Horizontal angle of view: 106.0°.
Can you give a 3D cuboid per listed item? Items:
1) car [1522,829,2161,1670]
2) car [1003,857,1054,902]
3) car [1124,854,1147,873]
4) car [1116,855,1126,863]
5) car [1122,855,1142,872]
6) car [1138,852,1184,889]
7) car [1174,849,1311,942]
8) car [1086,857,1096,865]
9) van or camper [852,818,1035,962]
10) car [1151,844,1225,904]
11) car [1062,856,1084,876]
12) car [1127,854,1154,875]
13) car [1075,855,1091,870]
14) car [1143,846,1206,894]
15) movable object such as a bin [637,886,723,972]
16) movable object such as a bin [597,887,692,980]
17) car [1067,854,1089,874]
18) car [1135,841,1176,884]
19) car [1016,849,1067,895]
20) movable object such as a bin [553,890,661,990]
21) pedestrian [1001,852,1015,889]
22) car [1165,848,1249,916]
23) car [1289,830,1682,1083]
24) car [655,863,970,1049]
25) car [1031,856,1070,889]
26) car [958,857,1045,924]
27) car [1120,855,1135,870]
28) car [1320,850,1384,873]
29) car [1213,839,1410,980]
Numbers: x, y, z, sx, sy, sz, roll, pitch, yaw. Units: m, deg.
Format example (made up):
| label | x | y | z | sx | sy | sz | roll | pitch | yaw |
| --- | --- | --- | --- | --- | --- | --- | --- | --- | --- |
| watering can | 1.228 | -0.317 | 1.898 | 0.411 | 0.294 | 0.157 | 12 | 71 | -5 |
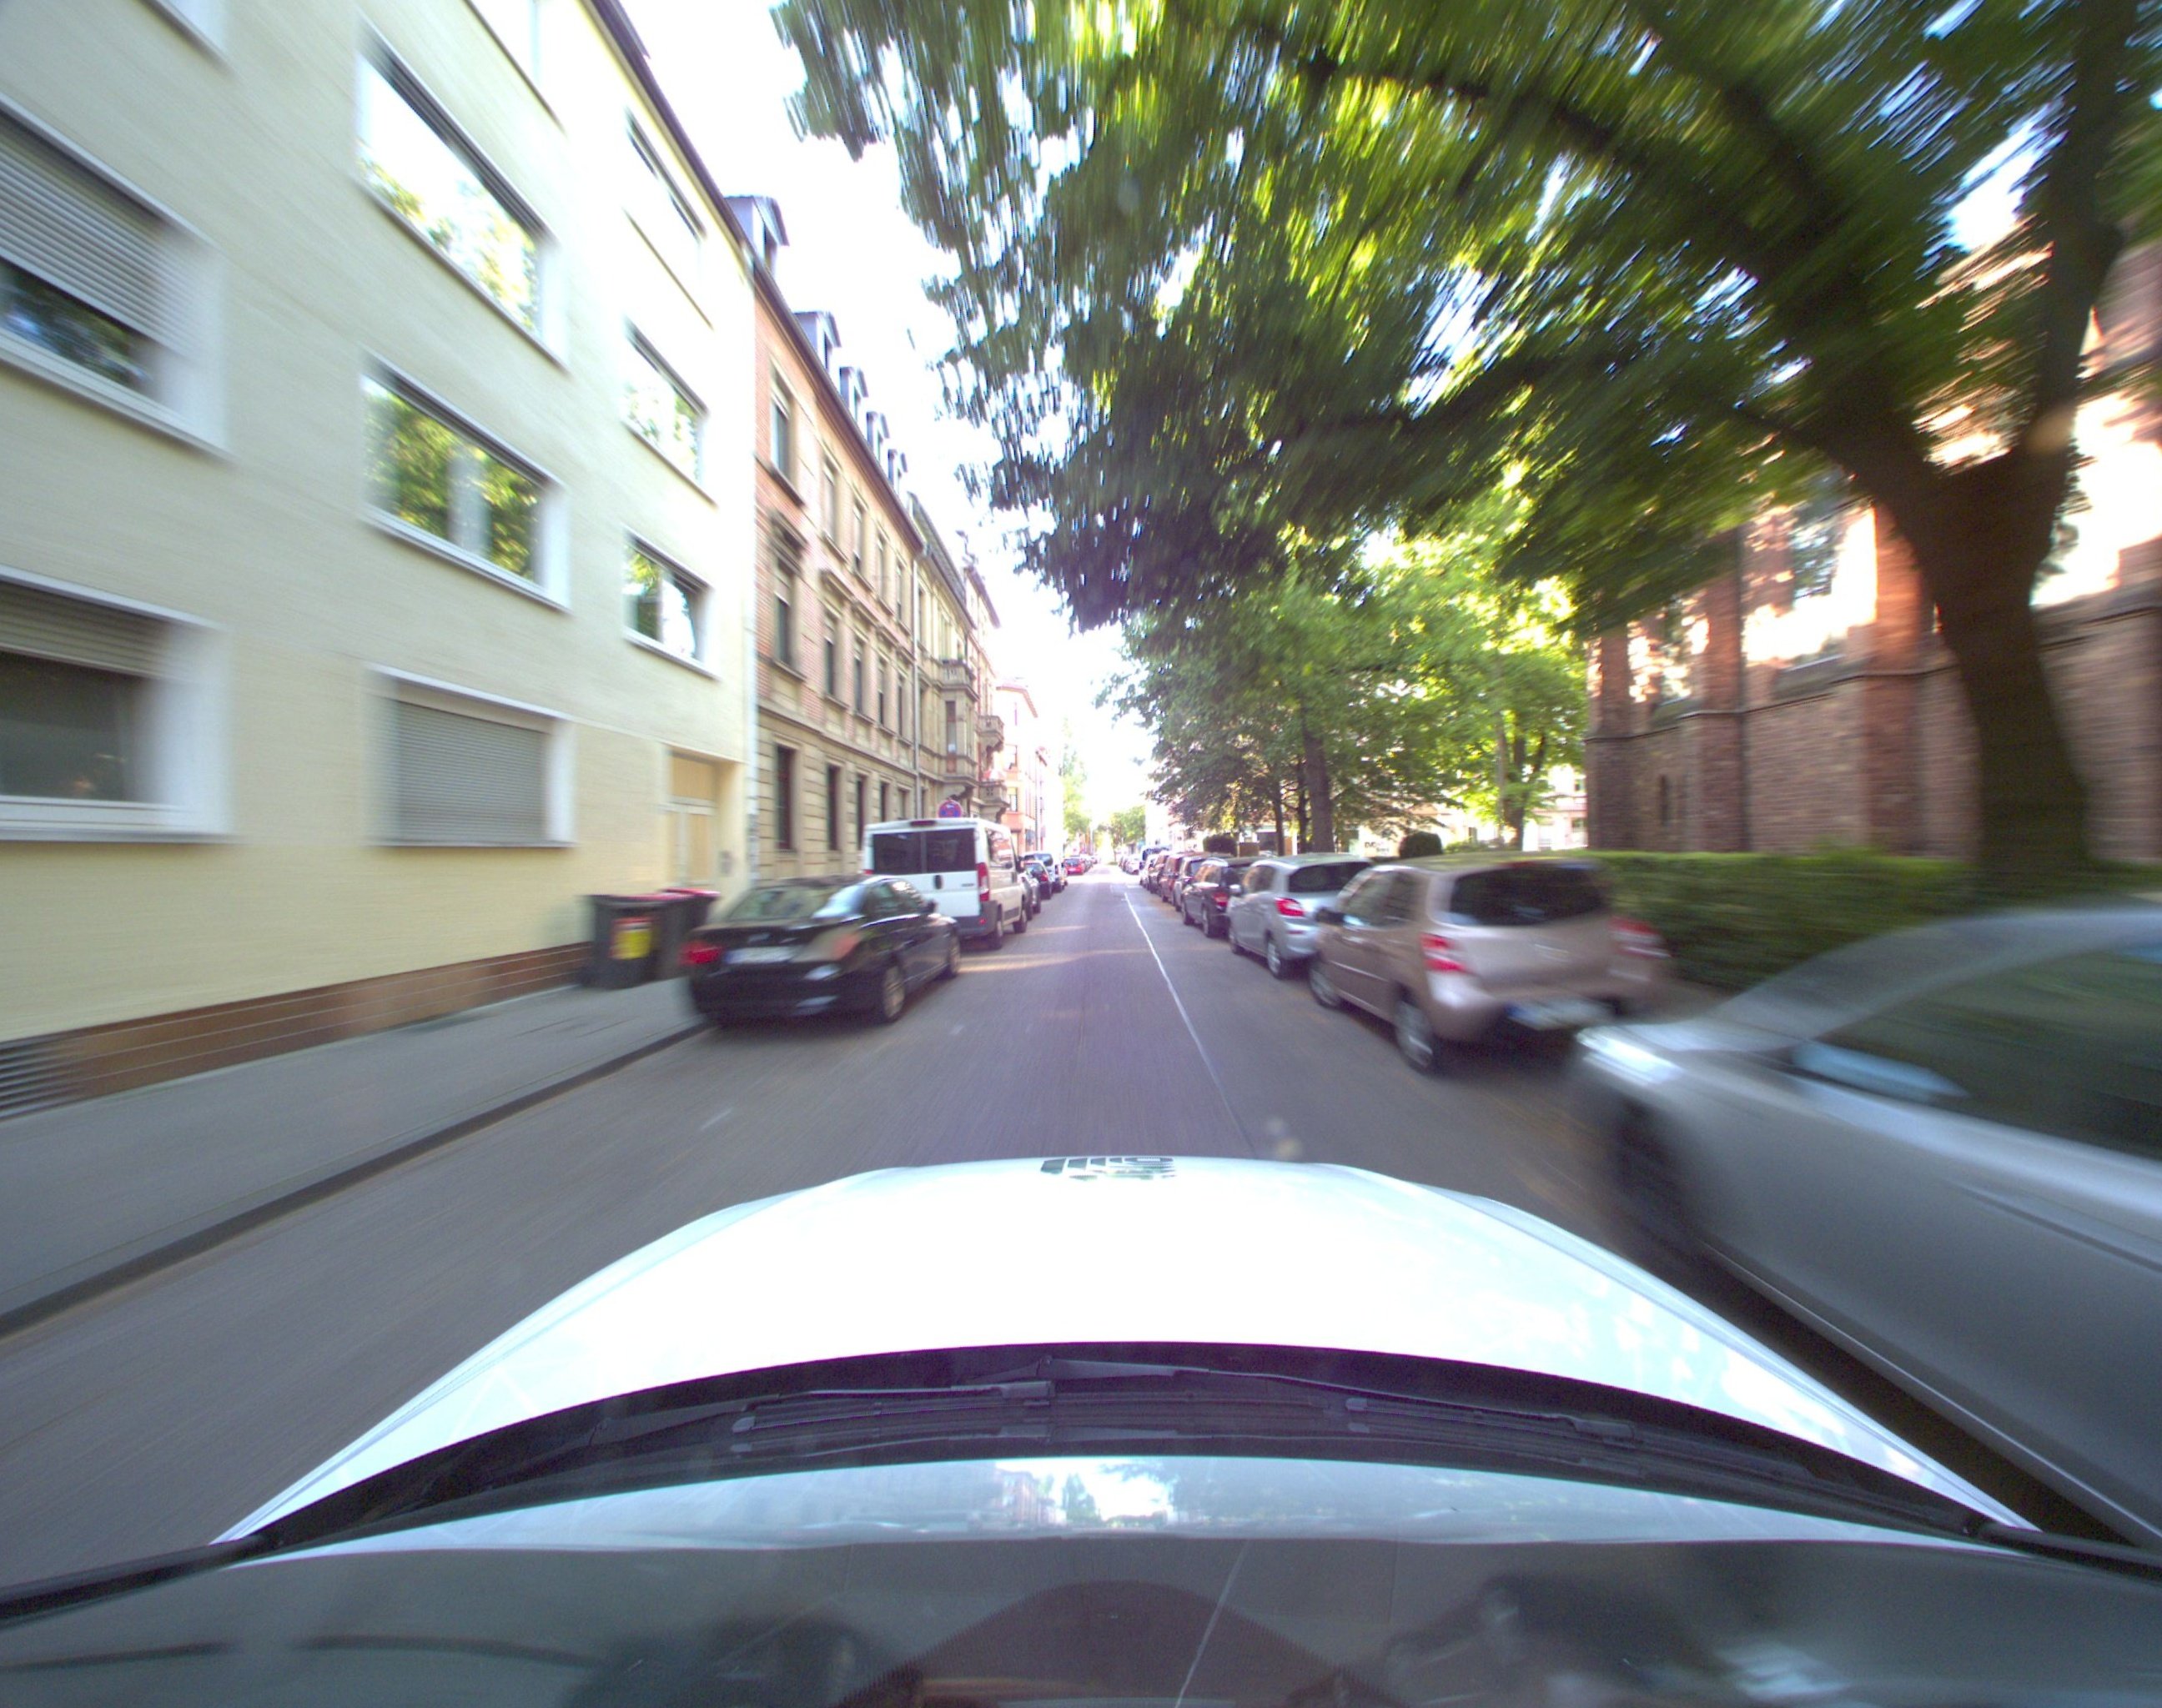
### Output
| label | x | y | z | sx | sy | sz | roll | pitch | yaw |
| --- | --- | --- | --- | --- | --- | --- | --- | --- | --- |
| car | 2.703 | 0.688 | 1.628 | 1.593 | 1.470 | 3.871 | -3 | -1 | 2 |
| car | -1.954 | 0.922 | 31.281 | 1.688 | 1.514 | 3.971 | -3 | 0 | -1 |
| car | 4.734 | 0.770 | 71.008 | 1.738 | 1.506 | 4.022 | -3 | 0 | 1 |
| car | 7.595 | 0.947 | 155.288 | 1.670 | 1.487 | 3.638 | -3 | 0 | 1 |
| car | 4.967 | 0.928 | 79.967 | 1.670 | 1.506 | 3.938 | -3 | 0 | 1 |
| car | 3.615 | 0.714 | 37.165 | 1.713 | 1.571 | 3.828 | -1 | 0 | 0 |
| car | 3.023 | 0.745 | 16.274 | 1.670 | 1.441 | 4.694 | -6 | -1 | 0 |
| car | 1.912 | 1.314 | 153.730 | 1.670 | 1.487 | 4.095 | -3 | 0 | 1 |
| van or camper | -2.299 | 0.564 | 15.304 | 2.167 | 2.148 | 5.158 | -3 | 0 | 3 |
| car | 3.373 | 0.633 | 26.357 | 1.615 | 1.624 | 3.860 | -6 | -1 | -2 |
| car | -0.605 | 0.936 | 65.393 | 1.622 | 1.481 | 3.602 | -3 | 0 | 1 |
| car | 4.694 | 0.783 | 64.741 | 1.739 | 1.506 | 4.356 | -3 | 0 | -1 |
| car | 0.265 | 1.013 | 99.651 | 1.759 | 1.785 | 4.040 | -3 | 0 | 1 |
| car | 3.597 | 0.627 | 32.048 | 1.735 | 1.603 | 4.260 | -6 | -1 | -2 |
| movable object such as a bin | -5.351 | 0.990 | 10.897 | 0.796 | 1.088 | 0.667 | -1 | -2 | 5 |
| movable object such as a bin | -5.415 | 0.974 | 10.142 | 0.796 | 1.088 | 0.667 | -1 | -2 | 5 |
| car | -0.259 | 0.938 | 80.487 | 1.736 | 1.811 | 4.676 | -3 | 0 | 3 |
| car | 3.854 | 0.423 | 42.530 | 1.906 | 1.998 | 4.797 | -3 | 0 | 4 |
| car | -1.676 | 0.742 | 36.165 | 1.824 | 1.811 | 4.573 | -3 | 0 | 2 |
| movable object such as a bin | -5.452 | 0.970 | 9.407 | 0.832 | 1.088 | 0.676 | -1 | -2 | 5 |
| pedestrian | -3.324 | 0.752 | 37.163 | 0.546 | 1.644 | 0.717 | 0 | -3 | 1 |
| car | 3.231 | 0.698 | 21.515 | 1.613 | 1.486 | 3.777 | -6 | -1 | 2 |
| car | 3.033 | 0.678 | 6.991 | 1.593 | 1.468 | 3.565 | -6 | -1 | 2 |
| car | -2.530 | 0.876 | 8.903 | 1.723 | 1.402 | 4.319 | -3 | 0 | 3 |
| car | -1.504 | 0.903 | 41.607 | 1.686 | 1.481 | 3.974 | -3 | 0 | 1 |
| car | -1.999 | 0.880 | 21.603 | 1.760 | 1.514 | 4.194 | -3 | 0 | 1 |
| car | 5.816 | 1.051 | 101.865 | 1.669 | 1.681 | 4.097 | -3 | -1 | 3 |
| car | 18.329 | 0.537 | 55.194 | 3.833 | 1.473 | 1.637 | -1 | -2 | 8 |
| car | 3.010 | 0.686 | 11.420 | 1.594 | 1.505 | 3.627 | -6 | -1 | 0 |
